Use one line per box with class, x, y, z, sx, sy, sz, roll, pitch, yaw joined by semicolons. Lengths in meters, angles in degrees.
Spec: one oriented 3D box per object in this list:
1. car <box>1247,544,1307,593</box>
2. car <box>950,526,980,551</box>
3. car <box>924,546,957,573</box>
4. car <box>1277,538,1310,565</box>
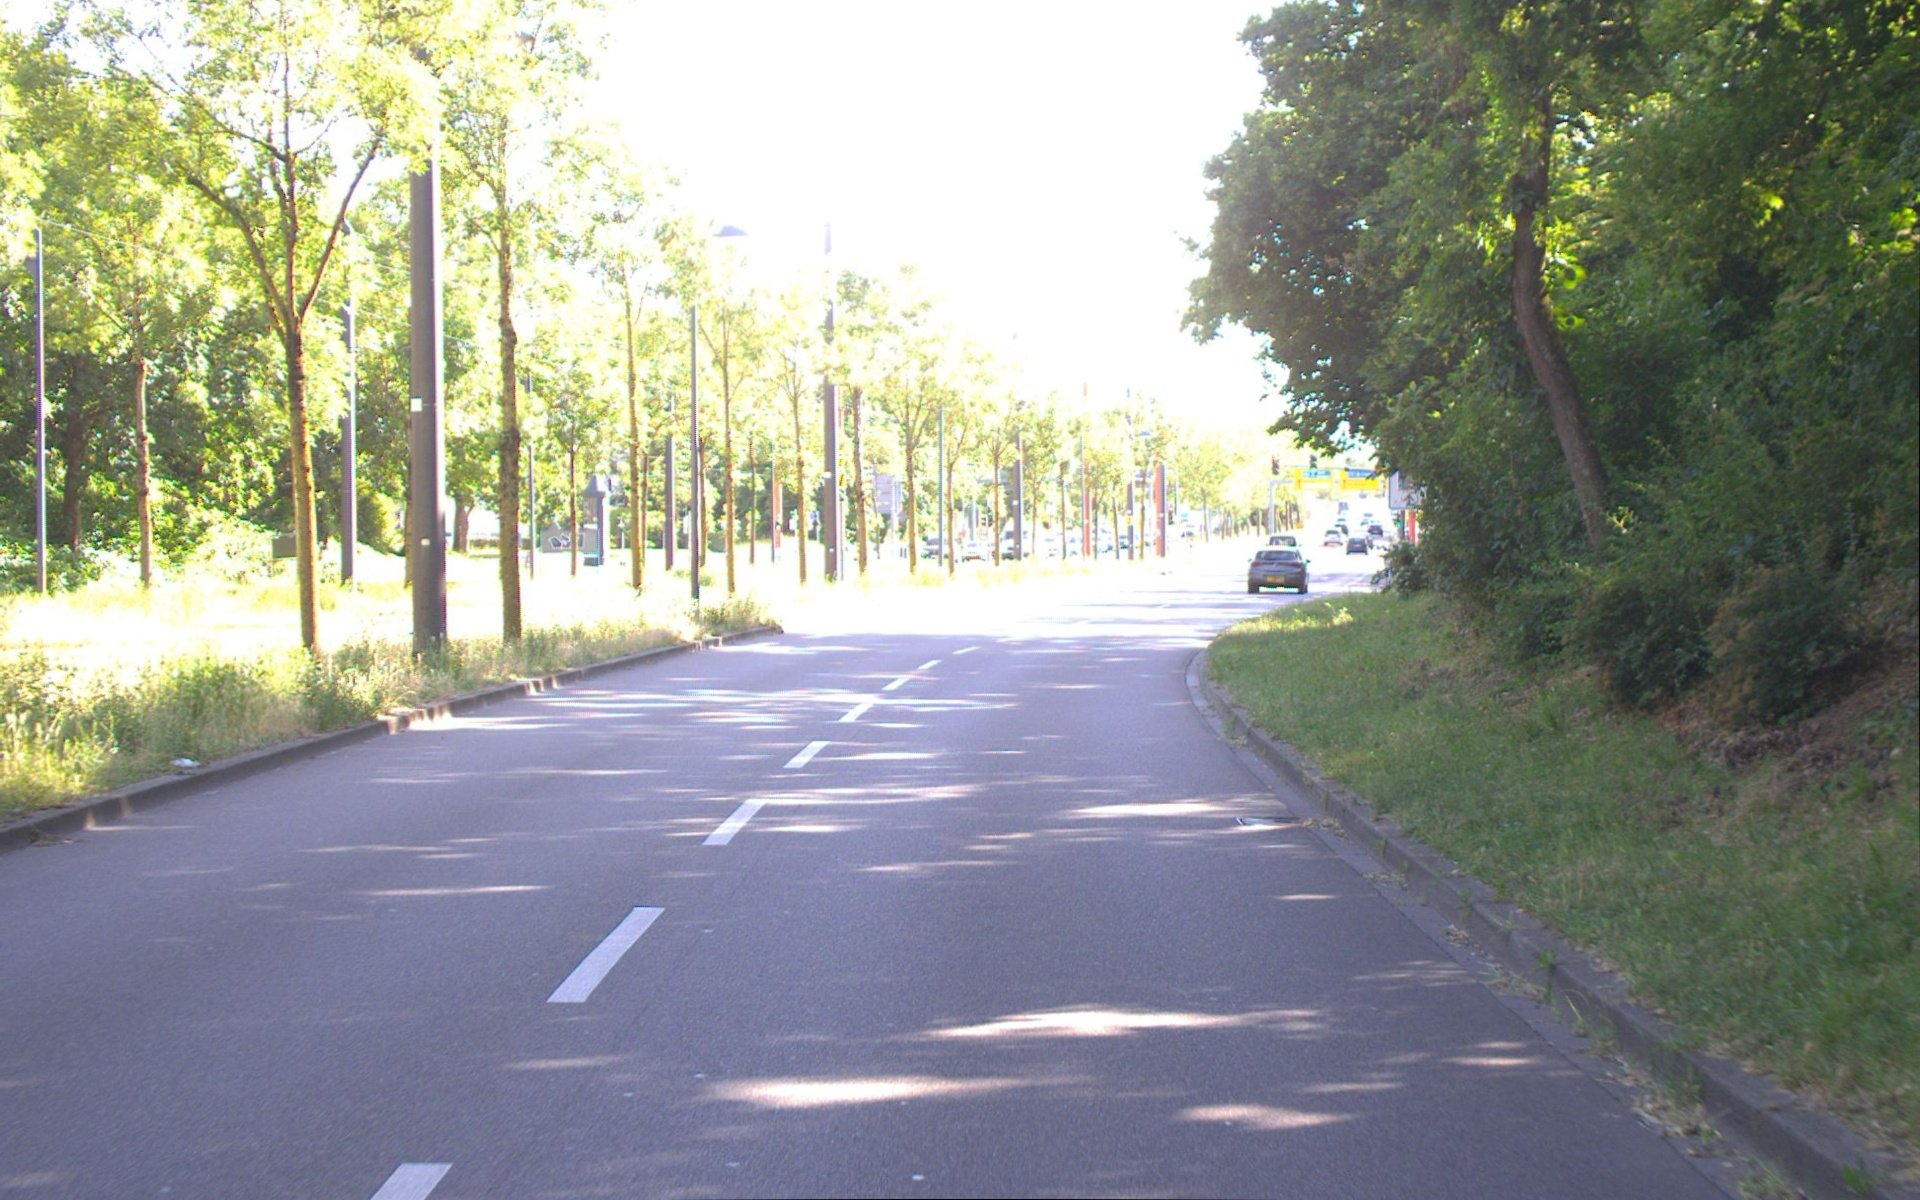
car;9.942;-0.998;107.724;1.635;1.493;4.233;0;1;8
car;0.329;-4.264;237.270;1.631;1.675;4.191;0;1;6
car;-1.224;-2.607;220.952;1.631;1.675;4.191;0;1;6
car;18.955;-2.777;195.425;1.635;1.493;4.233;0;1;8
